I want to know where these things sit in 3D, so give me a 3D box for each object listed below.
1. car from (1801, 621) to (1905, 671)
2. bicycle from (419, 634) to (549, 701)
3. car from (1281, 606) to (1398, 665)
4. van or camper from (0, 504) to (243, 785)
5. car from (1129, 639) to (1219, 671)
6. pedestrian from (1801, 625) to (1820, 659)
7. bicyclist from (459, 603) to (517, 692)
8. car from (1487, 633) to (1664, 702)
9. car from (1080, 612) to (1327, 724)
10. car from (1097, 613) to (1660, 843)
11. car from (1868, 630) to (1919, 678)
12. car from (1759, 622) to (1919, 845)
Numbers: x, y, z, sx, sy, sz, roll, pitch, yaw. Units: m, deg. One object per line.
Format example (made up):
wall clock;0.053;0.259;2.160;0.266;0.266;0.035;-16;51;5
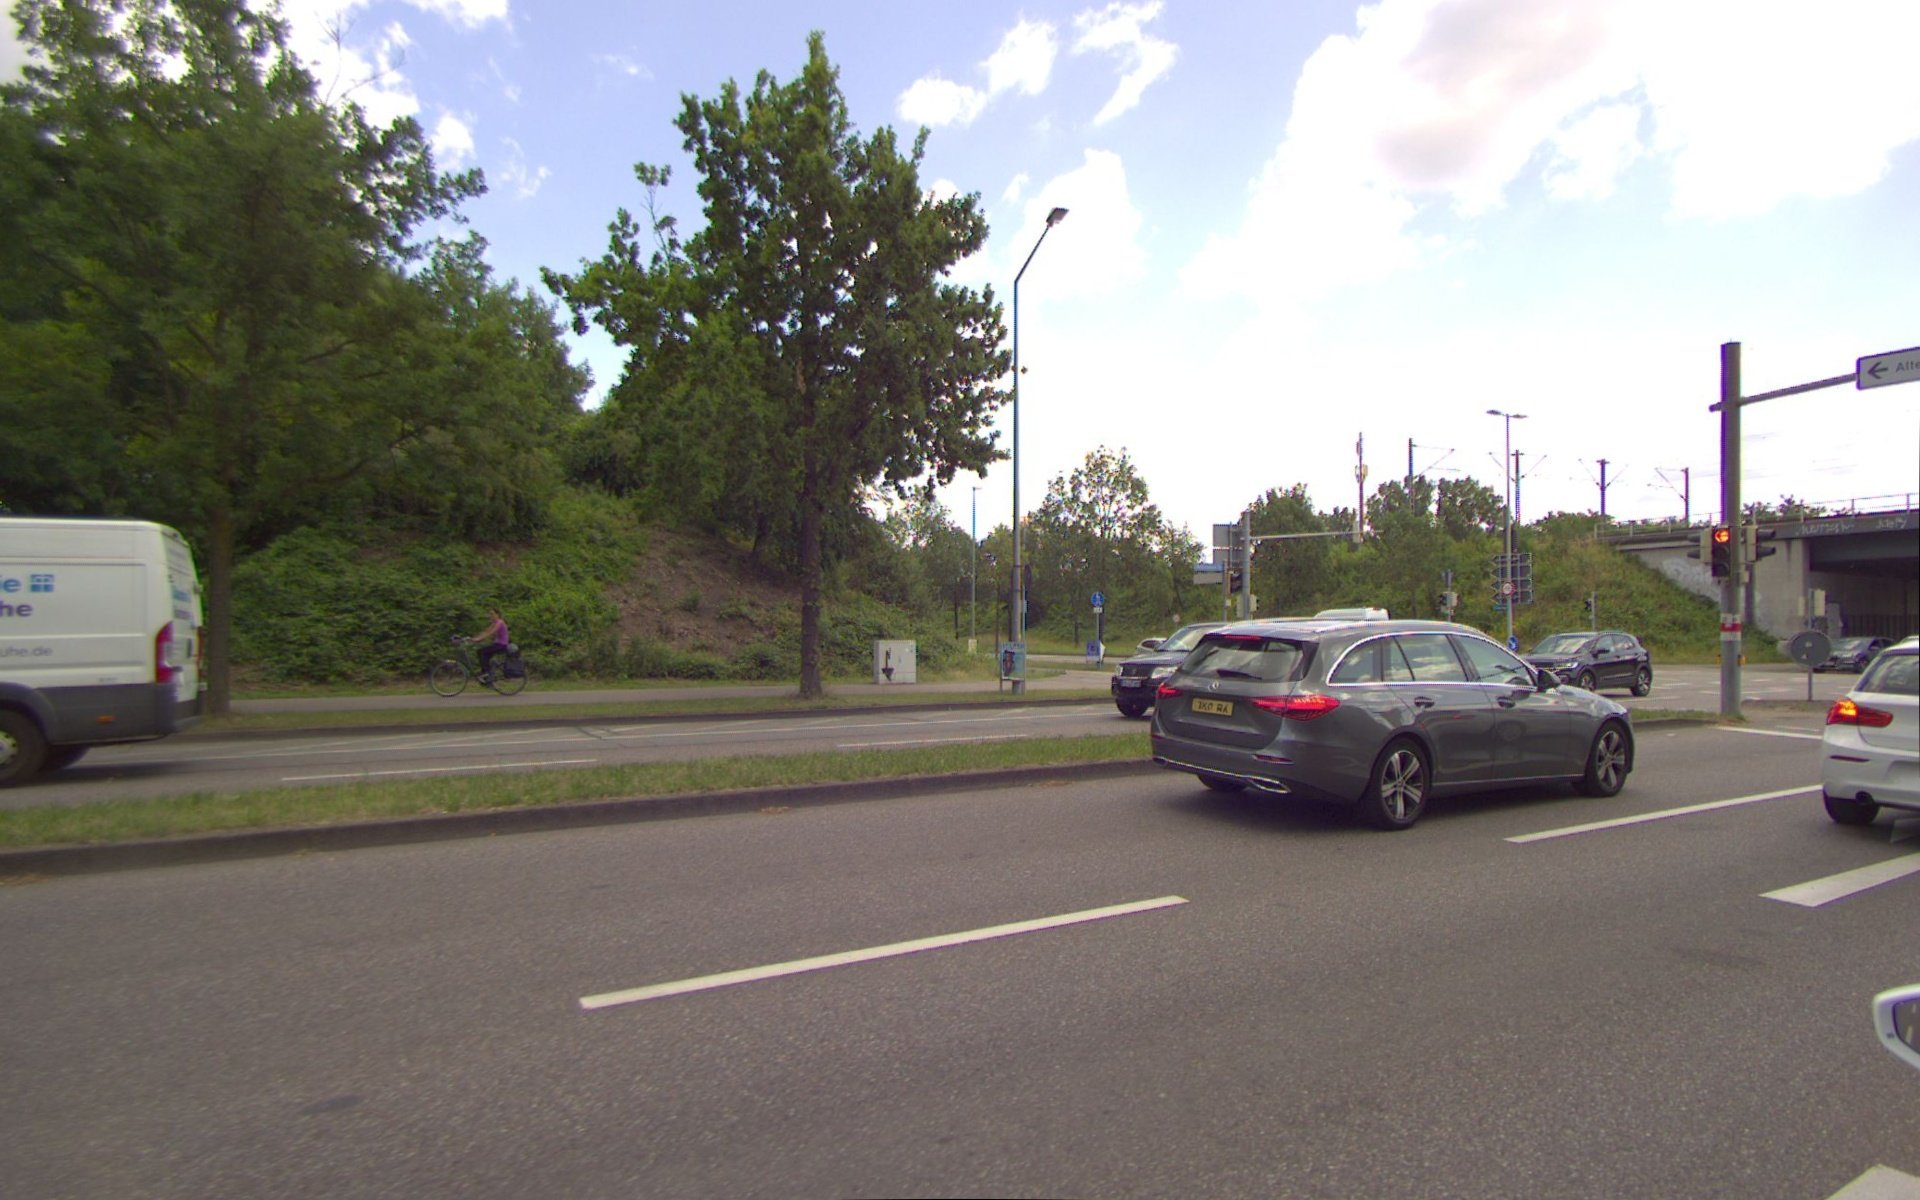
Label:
car;38.264;1.957;43.040;3.947;2.040;1.987;1;-2;-26
bicycle;-9.791;1.366;20.687;2.364;1.287;0.818;2;-1;-29
car;19.545;1.833;51.977;2.361;2.859;5.369;1;-2;-32
van or camper;-10.988;0.384;9.193;6.984;2.573;2.339;1;-1;-32
car;9.859;2.515;46.644;1.972;1.397;4.299;1;-2;-23
pedestrian;42.798;2.121;50.541;0.550;1.703;0.587;1;-1;-32
bicyclist;-9.732;0.960;20.721;0.986;1.770;0.888;1;0;-30
car;14.975;1.586;24.444;3.949;1.549;1.919;1;-2;-27
car;4.419;1.163;18.098;4.172;1.789;1.984;1;-2;-31
car;3.644;0.858;8.464;4.777;1.434;1.983;1;-1;-32
car;34.844;1.916;36.315;4.341;1.653;1.797;1;-2;-31
car;8.194;0.934;7.647;4.245;1.434;1.905;1;1;-31
